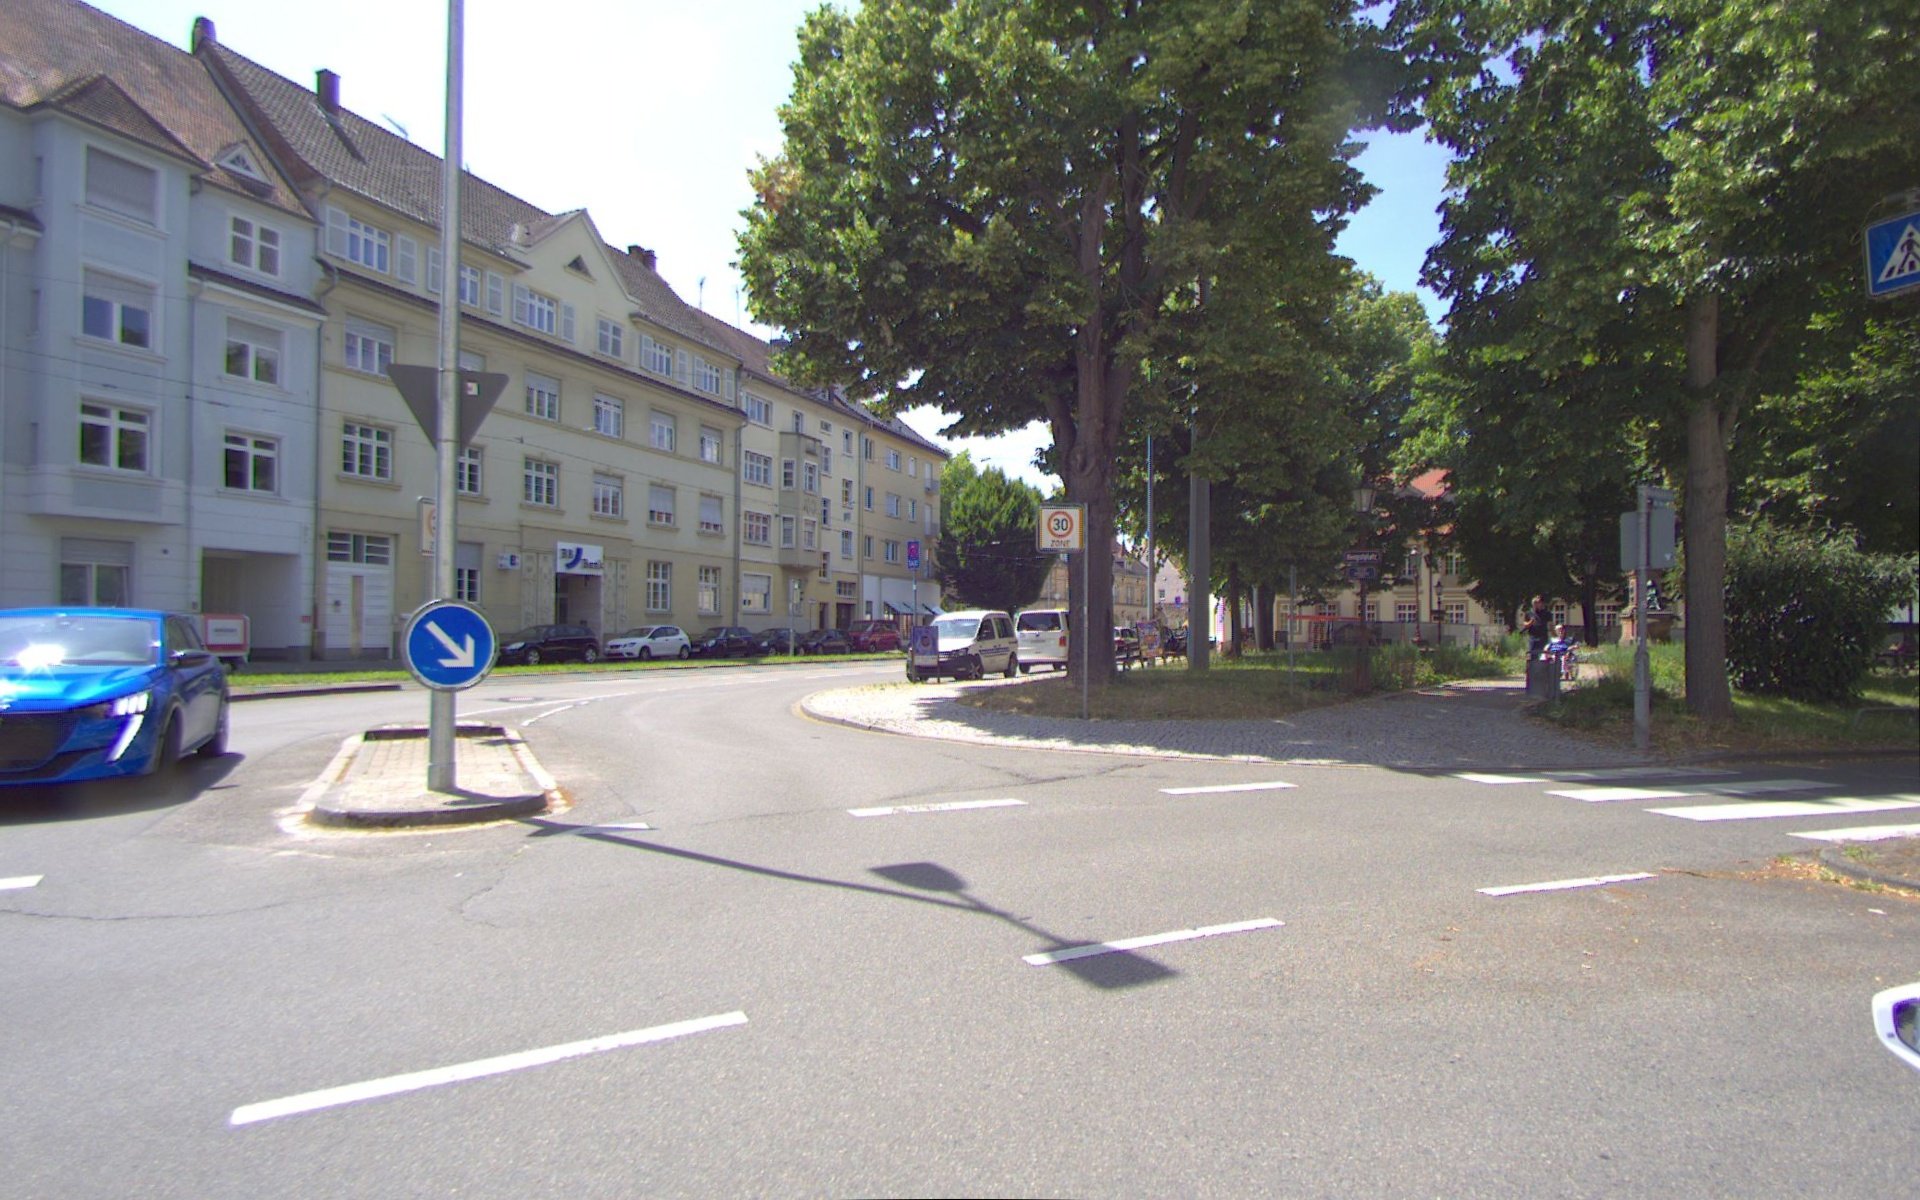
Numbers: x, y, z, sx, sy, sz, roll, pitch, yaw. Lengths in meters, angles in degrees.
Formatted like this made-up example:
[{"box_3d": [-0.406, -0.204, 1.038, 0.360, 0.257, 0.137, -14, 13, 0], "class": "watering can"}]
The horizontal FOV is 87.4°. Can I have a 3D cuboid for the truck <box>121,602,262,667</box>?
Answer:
[{"box_3d": [-19.071, 0.864, 25.034, 1.108, 1.514, 2.594, -2, -2, 22], "class": "truck"}]

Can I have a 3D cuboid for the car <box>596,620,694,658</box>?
[{"box_3d": [-12.486, 1.535, 40.058, 1.659, 1.408, 3.856, -2, -2, 23], "class": "car"}]

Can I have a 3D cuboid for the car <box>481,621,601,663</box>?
[{"box_3d": [-14.576, 1.456, 35.151, 1.659, 1.378, 3.856, -2, -2, 23], "class": "car"}]

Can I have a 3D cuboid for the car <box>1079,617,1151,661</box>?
[{"box_3d": [6.326, 1.537, 40.546, 1.755, 1.645, 4.483, 0, -1, 24], "class": "car"}]

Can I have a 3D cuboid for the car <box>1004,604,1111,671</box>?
[{"box_3d": [3.394, 1.236, 33.827, 2.017, 2.029, 5.246, 0, -1, 24], "class": "car"}]

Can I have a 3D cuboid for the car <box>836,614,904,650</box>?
[{"box_3d": [-5.124, 1.852, 57.804, 1.823, 1.936, 4.769, -2, -2, 23], "class": "car"}]

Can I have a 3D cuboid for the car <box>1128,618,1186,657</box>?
[{"box_3d": [9.249, 1.753, 46.978, 1.755, 1.715, 4.198, 0, -1, 24], "class": "car"}]

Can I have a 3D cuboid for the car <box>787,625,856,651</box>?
[{"box_3d": [-7.246, 2.015, 52.962, 1.615, 1.294, 4.263, -2, -2, 23], "class": "car"}]

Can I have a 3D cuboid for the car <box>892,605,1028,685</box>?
[{"box_3d": [0.107, 1.111, 25.954, 1.961, 1.850, 4.421, 1, -1, 23], "class": "car"}]

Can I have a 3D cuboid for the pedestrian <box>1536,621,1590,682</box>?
[{"box_3d": [13.271, 1.117, 22.107, 0.894, 1.269, 1.143, 0, 0, 38], "class": "pedestrian"}]

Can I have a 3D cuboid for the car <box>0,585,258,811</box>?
[{"box_3d": [-7.369, 0.702, 8.482, 1.792, 1.512, 3.973, 1, -2, -27], "class": "car"}]

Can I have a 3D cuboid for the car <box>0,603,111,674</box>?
[{"box_3d": [-20.448, 0.821, 21.159, 1.546, 1.470, 3.624, -2, -2, 23], "class": "car"}]

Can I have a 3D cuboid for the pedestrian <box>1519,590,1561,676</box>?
[{"box_3d": [13.361, 0.753, 23.128, 0.738, 1.936, 0.681, 0, 0, 38], "class": "pedestrian"}]

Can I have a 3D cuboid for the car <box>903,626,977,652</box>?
[{"box_3d": [-1.230, 2.406, 62.219, 4.133, 1.524, 2.004, -2, -2, 19], "class": "car"}]

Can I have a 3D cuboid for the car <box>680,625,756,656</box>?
[{"box_3d": [-10.705, 1.788, 44.662, 1.659, 1.294, 3.287, -2, -2, 23], "class": "car"}]

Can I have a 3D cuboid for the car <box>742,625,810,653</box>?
[{"box_3d": [-8.923, 1.899, 49.024, 1.576, 1.294, 3.585, -2, -2, 23], "class": "car"}]
